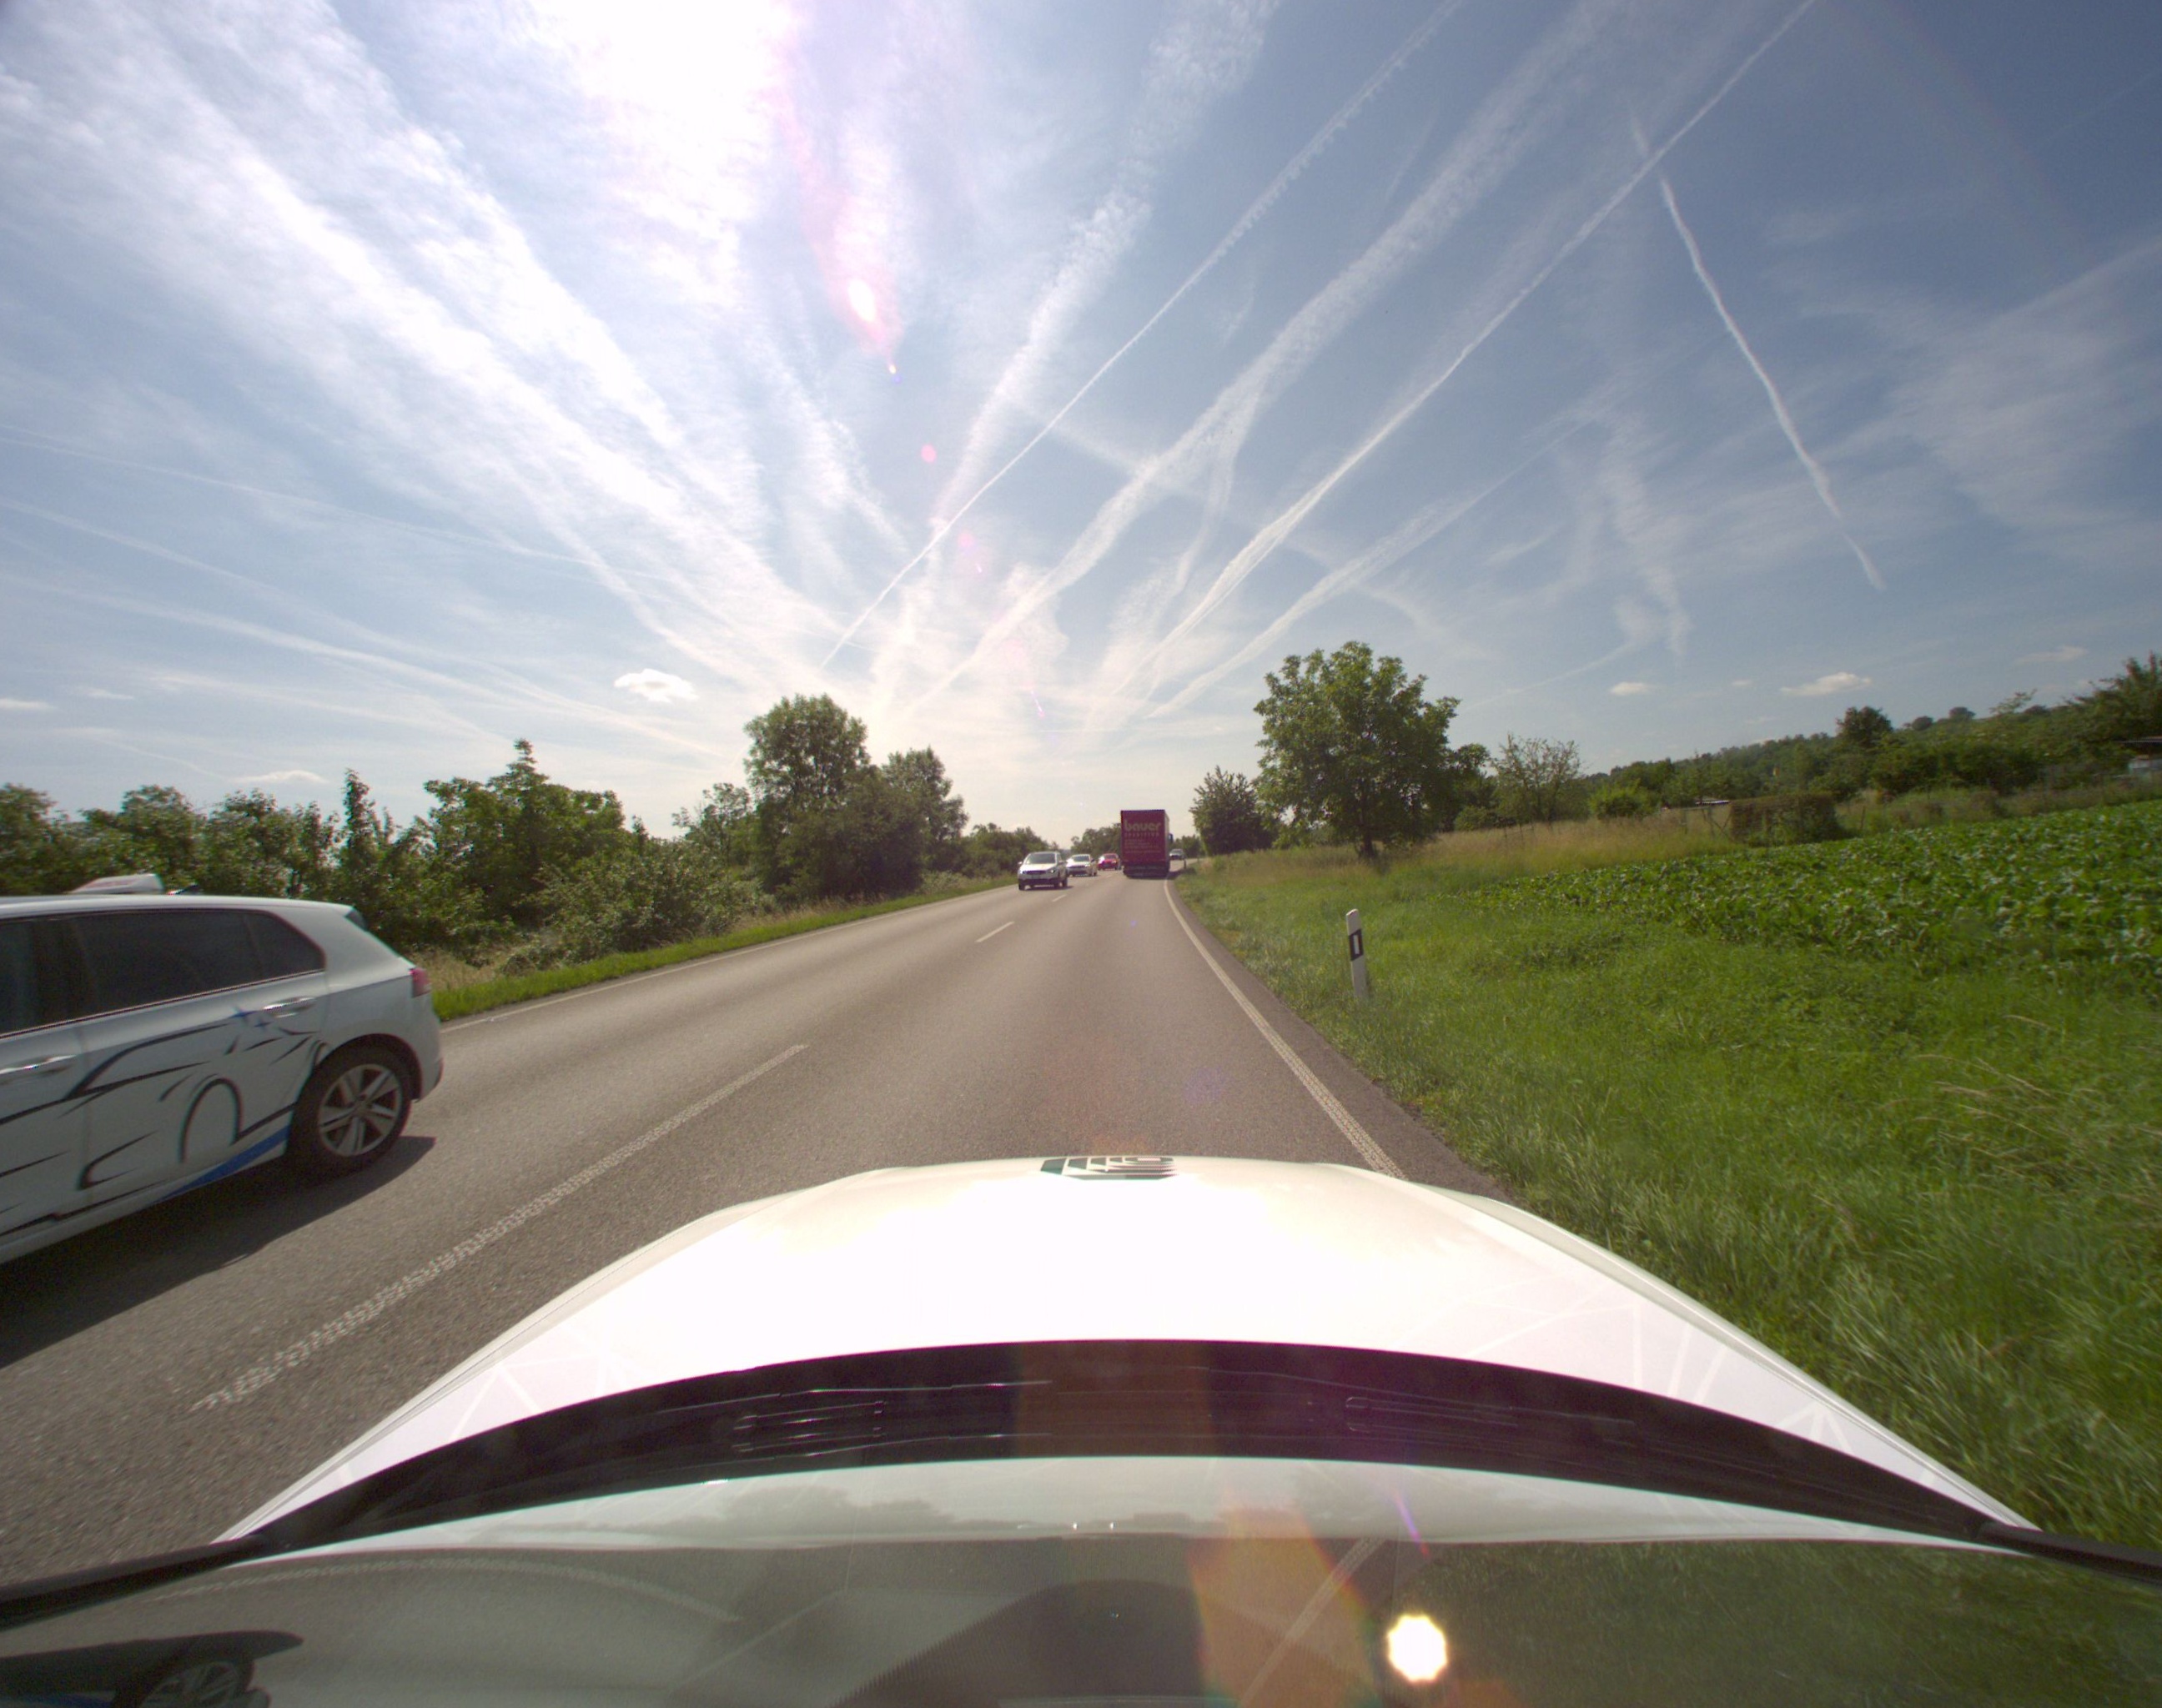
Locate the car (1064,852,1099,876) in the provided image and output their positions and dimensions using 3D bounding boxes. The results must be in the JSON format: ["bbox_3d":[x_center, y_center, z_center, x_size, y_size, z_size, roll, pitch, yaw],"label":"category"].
[{"bbox_3d":[0.048,0.615,53.882,1.741,1.414,3.781,-3,0,8],"label":"car"}]

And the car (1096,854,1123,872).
[{"bbox_3d":[2.497,0.777,70.722,1.810,1.398,4.192,-4,0,8],"label":"car"}]

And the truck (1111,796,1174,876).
[{"bbox_3d":[4.164,-0.956,52.273,3.094,4.506,12.195,0,-1,8],"label":"truck"}]

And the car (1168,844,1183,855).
[{"bbox_3d":[14.029,-0.630,120.756,1.982,1.523,4.010,-2,0,9],"label":"car"}]

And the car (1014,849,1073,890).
[{"bbox_3d":[-1.626,0.637,36.540,1.823,1.617,4.372,-3,0,7],"label":"car"}]

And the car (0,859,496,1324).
[{"bbox_3d":[-4.492,0.826,2.841,1.784,1.522,4.161,-2,0,1],"label":"car"}]
